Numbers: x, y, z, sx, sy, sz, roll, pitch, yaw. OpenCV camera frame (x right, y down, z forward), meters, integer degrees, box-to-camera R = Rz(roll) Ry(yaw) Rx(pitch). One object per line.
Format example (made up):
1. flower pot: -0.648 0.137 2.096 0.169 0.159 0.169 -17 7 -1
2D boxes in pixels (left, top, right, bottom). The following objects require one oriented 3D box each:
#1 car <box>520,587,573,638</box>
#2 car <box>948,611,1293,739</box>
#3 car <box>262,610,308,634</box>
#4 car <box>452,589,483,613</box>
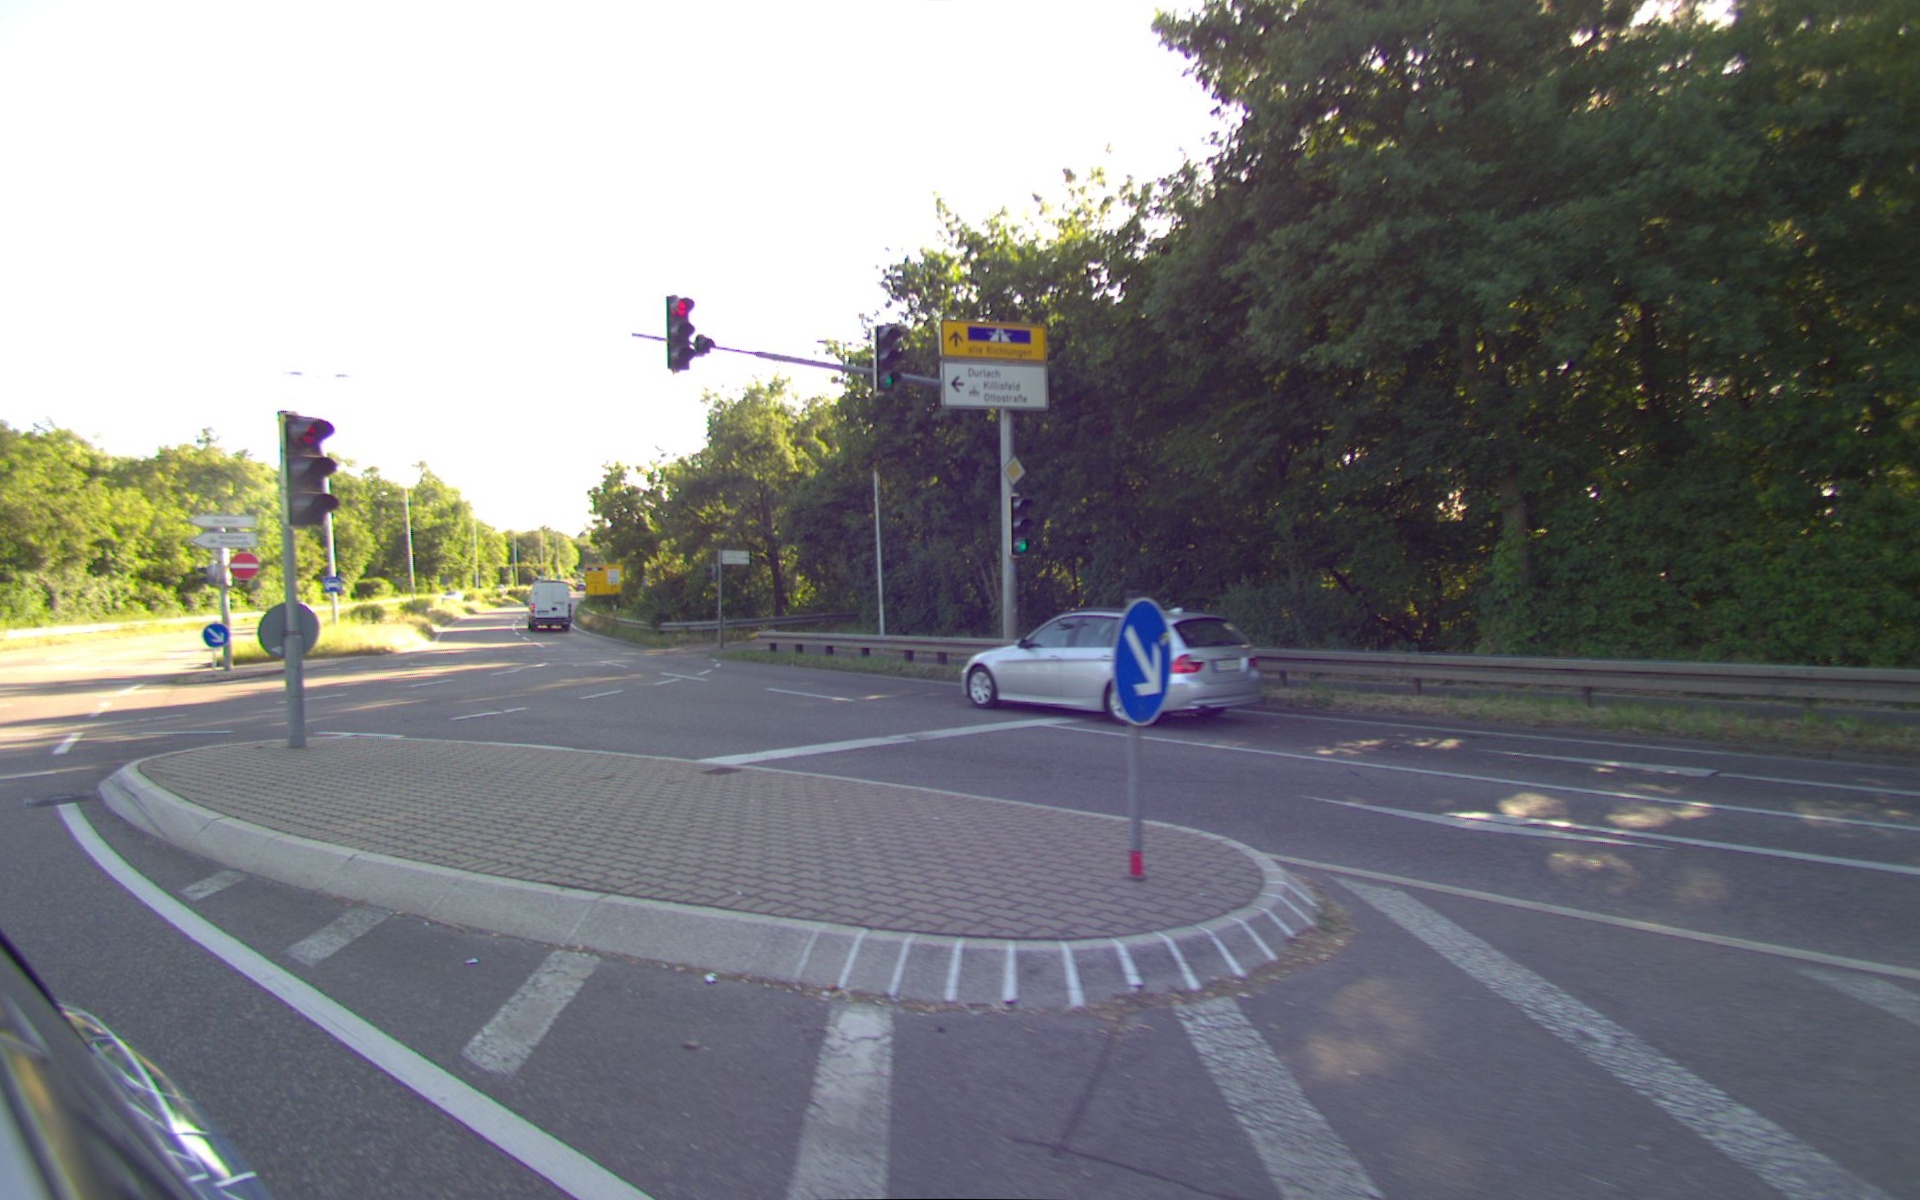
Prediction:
1. car: -22.202 0.678 54.188 2.231 2.572 6.418 0 -1 -26
2. car: 1.915 0.863 13.378 1.679 1.400 4.535 1 -2 -40
3. car: -43.189 1.404 64.862 1.735 1.447 4.344 -1 0 -24
4. car: -43.766 0.110 89.991 1.966 2.029 4.012 -1 0 -18
